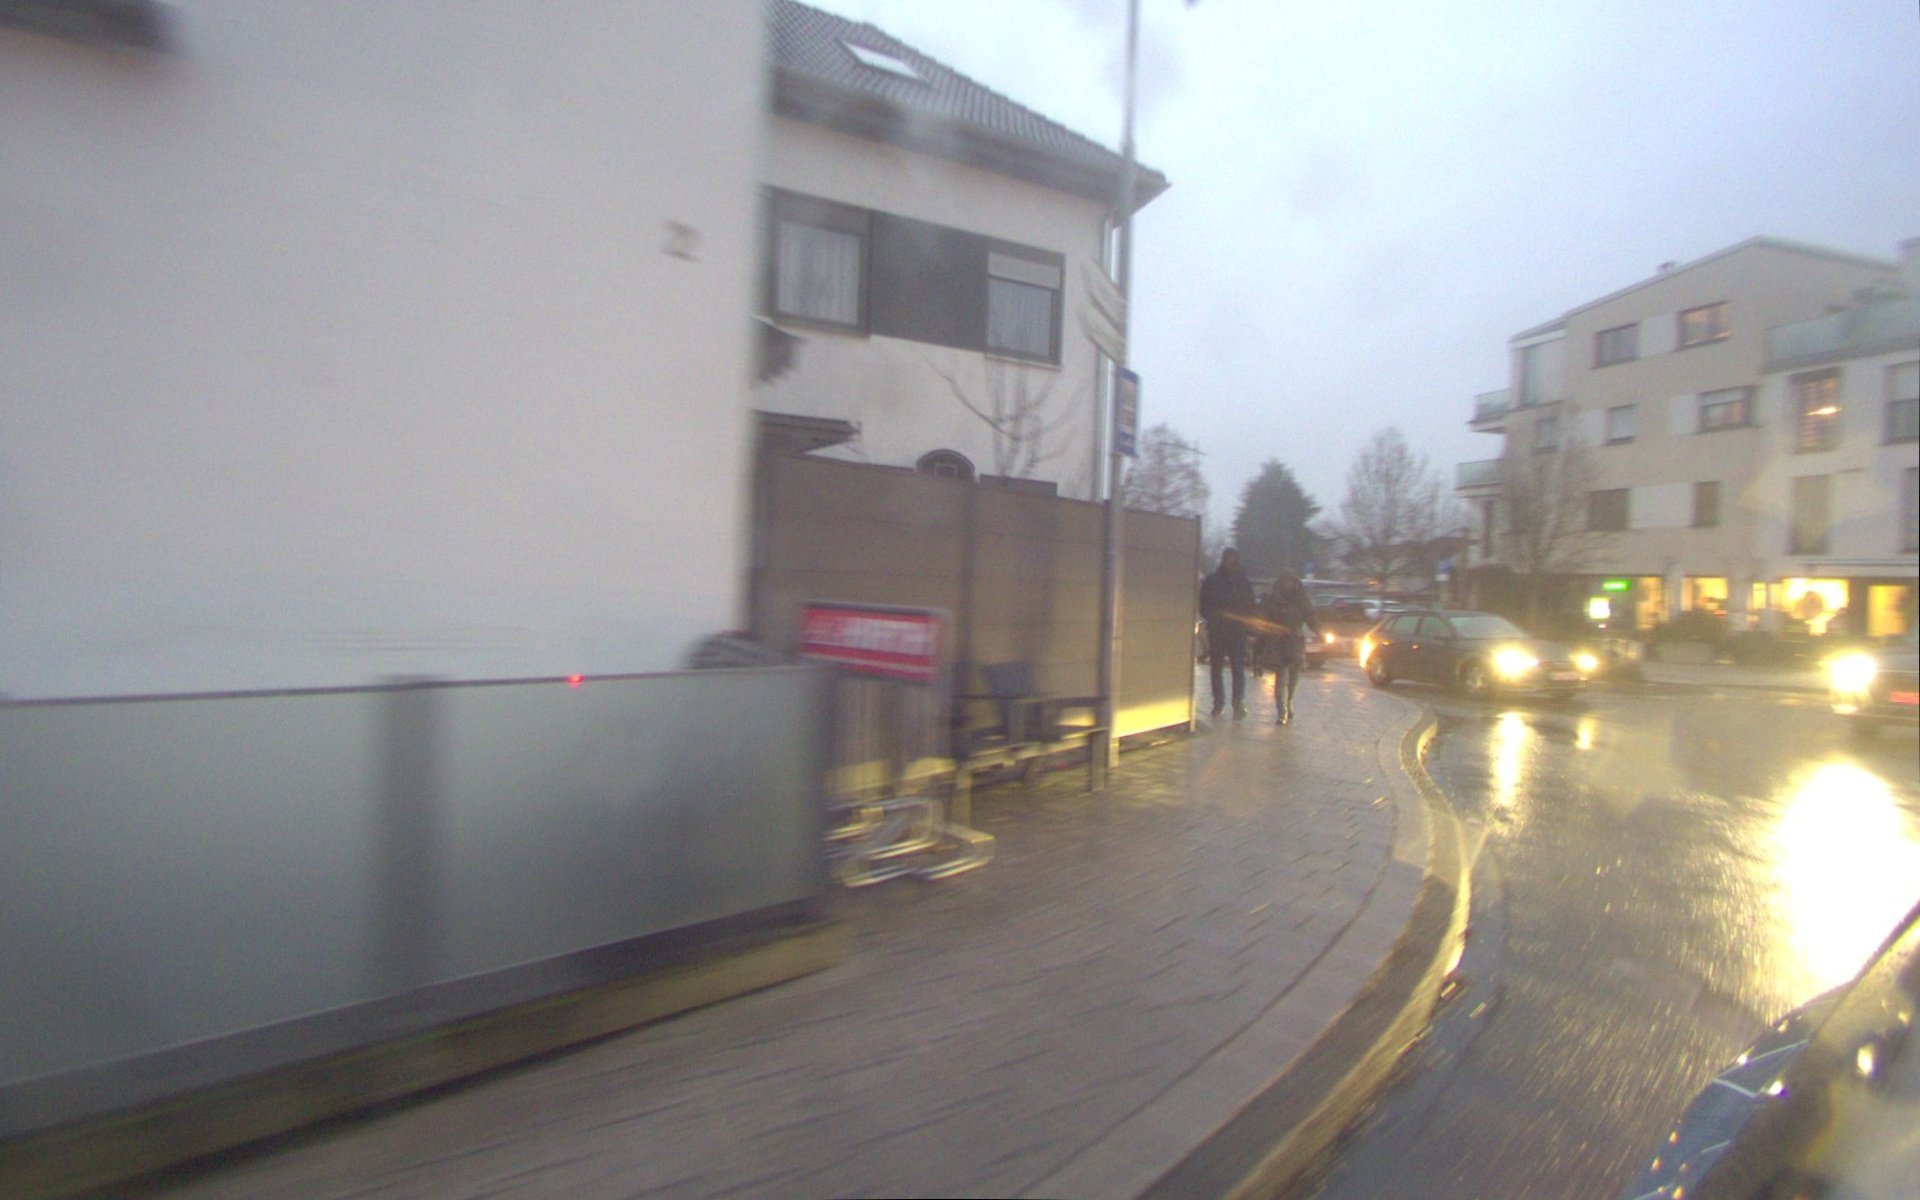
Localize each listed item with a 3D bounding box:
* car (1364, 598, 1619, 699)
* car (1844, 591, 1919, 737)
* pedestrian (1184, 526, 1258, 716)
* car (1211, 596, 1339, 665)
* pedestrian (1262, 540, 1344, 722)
[{"bbox_3d":[8.795,0.725,17.189,1.727,1.498,4.026,0,0,-10],"label":"car"},{"bbox_3d":[12.360,0.754,12.311,4.039,1.605,1.956,1,0,-42],"label":"car"},{"bbox_3d":[2.723,0.203,10.516,0.700,1.890,0.787,0,0,17],"label":"pedestrian"},{"bbox_3d":[7.354,0.663,23.976,1.722,1.473,3.666,0,0,-3],"label":"car"},{"bbox_3d":[3.505,0.297,10.402,0.758,1.784,0.787,0,0,17],"label":"pedestrian"}]
